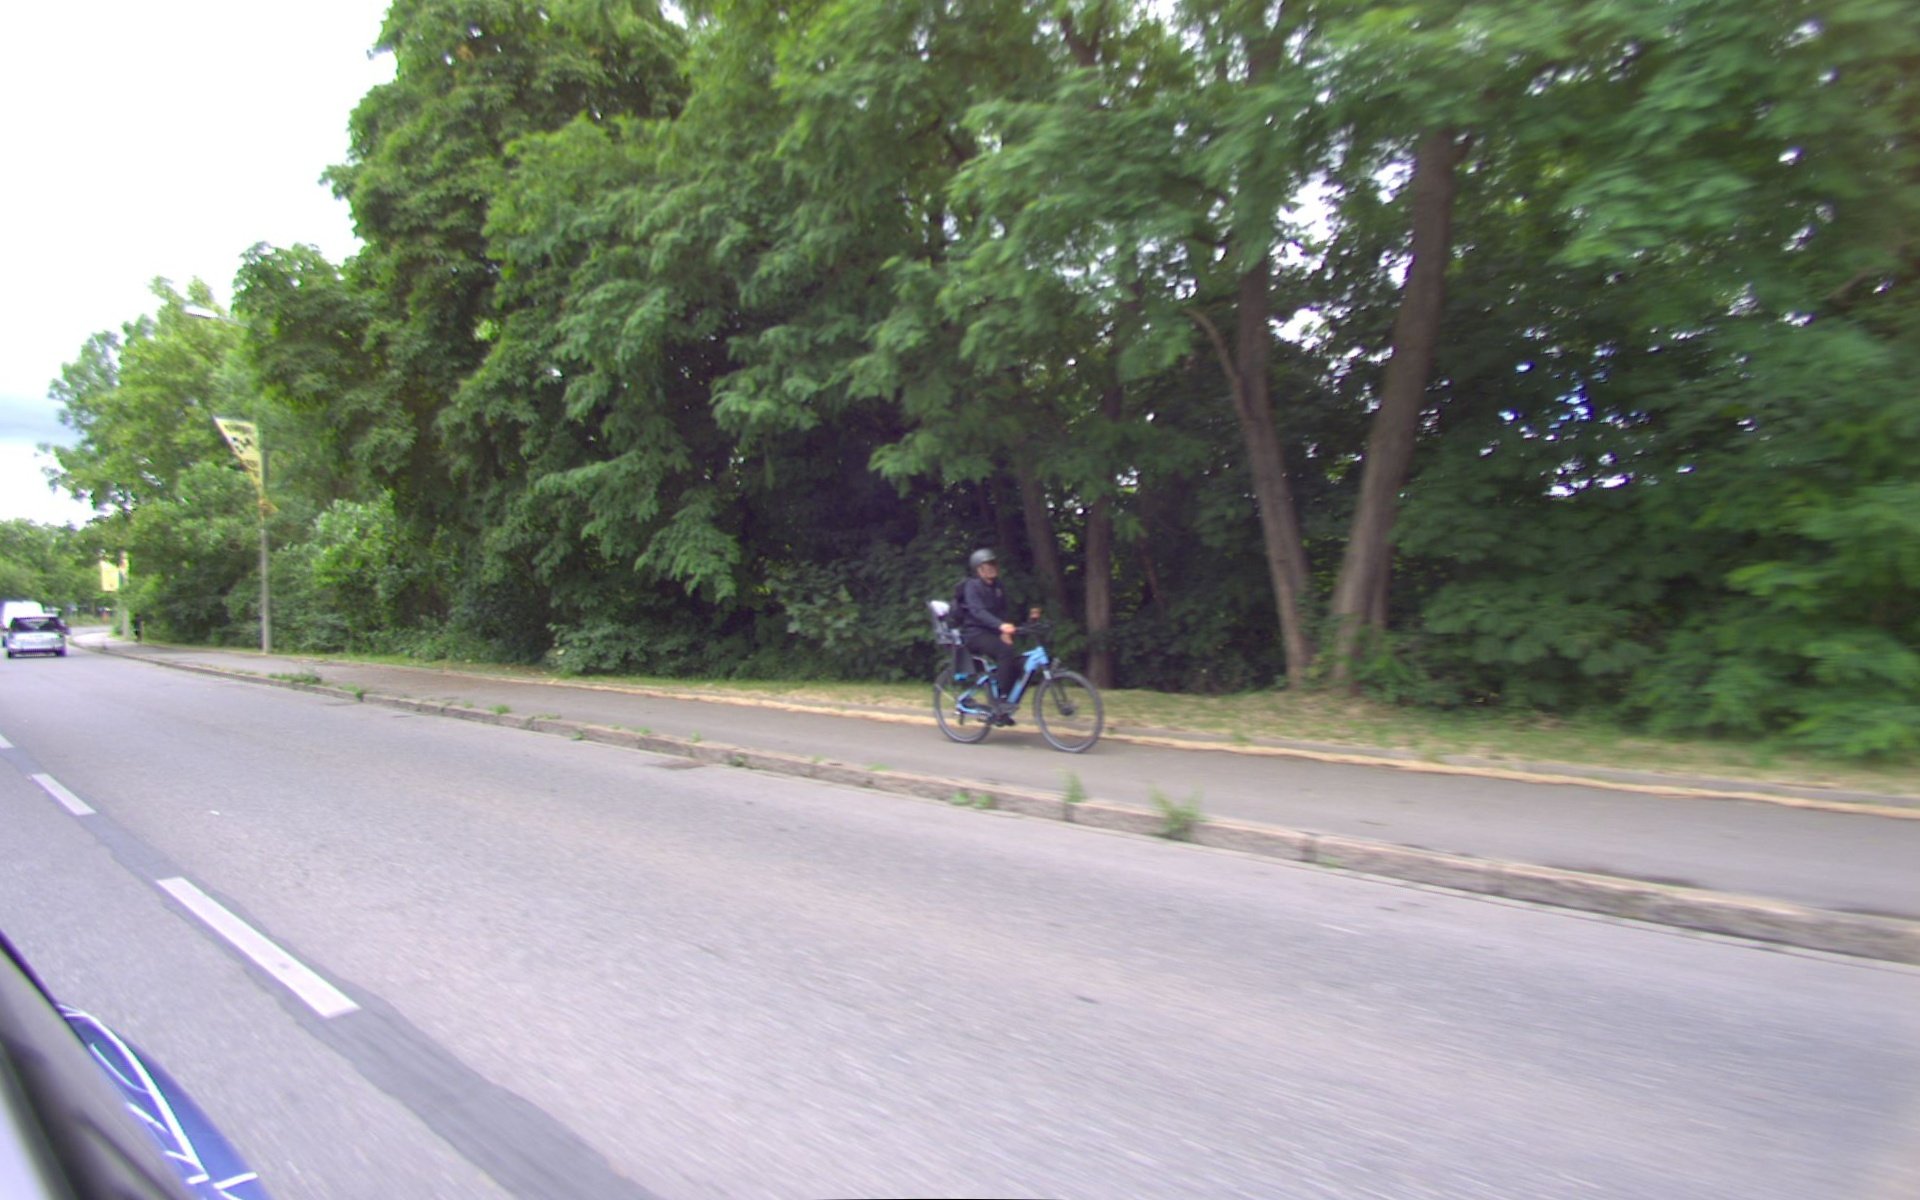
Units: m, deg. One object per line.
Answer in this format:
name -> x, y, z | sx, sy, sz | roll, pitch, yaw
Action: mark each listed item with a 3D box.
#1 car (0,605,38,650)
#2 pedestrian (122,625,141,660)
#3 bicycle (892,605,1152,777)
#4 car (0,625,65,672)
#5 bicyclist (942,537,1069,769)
car -> -57.989, 1.719, 61.896 | 5.896, 2.646, 1.971 | -2, -2, 44
pedestrian -> -42.091, 2.145, 51.435 | 0.815, 1.727, 0.593 | -2, 1, 44
bicycle -> 0.498, 0.759, 9.029 | 2.277, 1.341, 0.692 | -2, 1, 38
car -> -38.855, 2.009, 42.181 | 4.555, 1.813, 1.836 | -2, -2, 42
bicyclist -> 0.410, 0.448, 9.094 | 0.834, 1.962, 0.680 | -2, 1, 38
